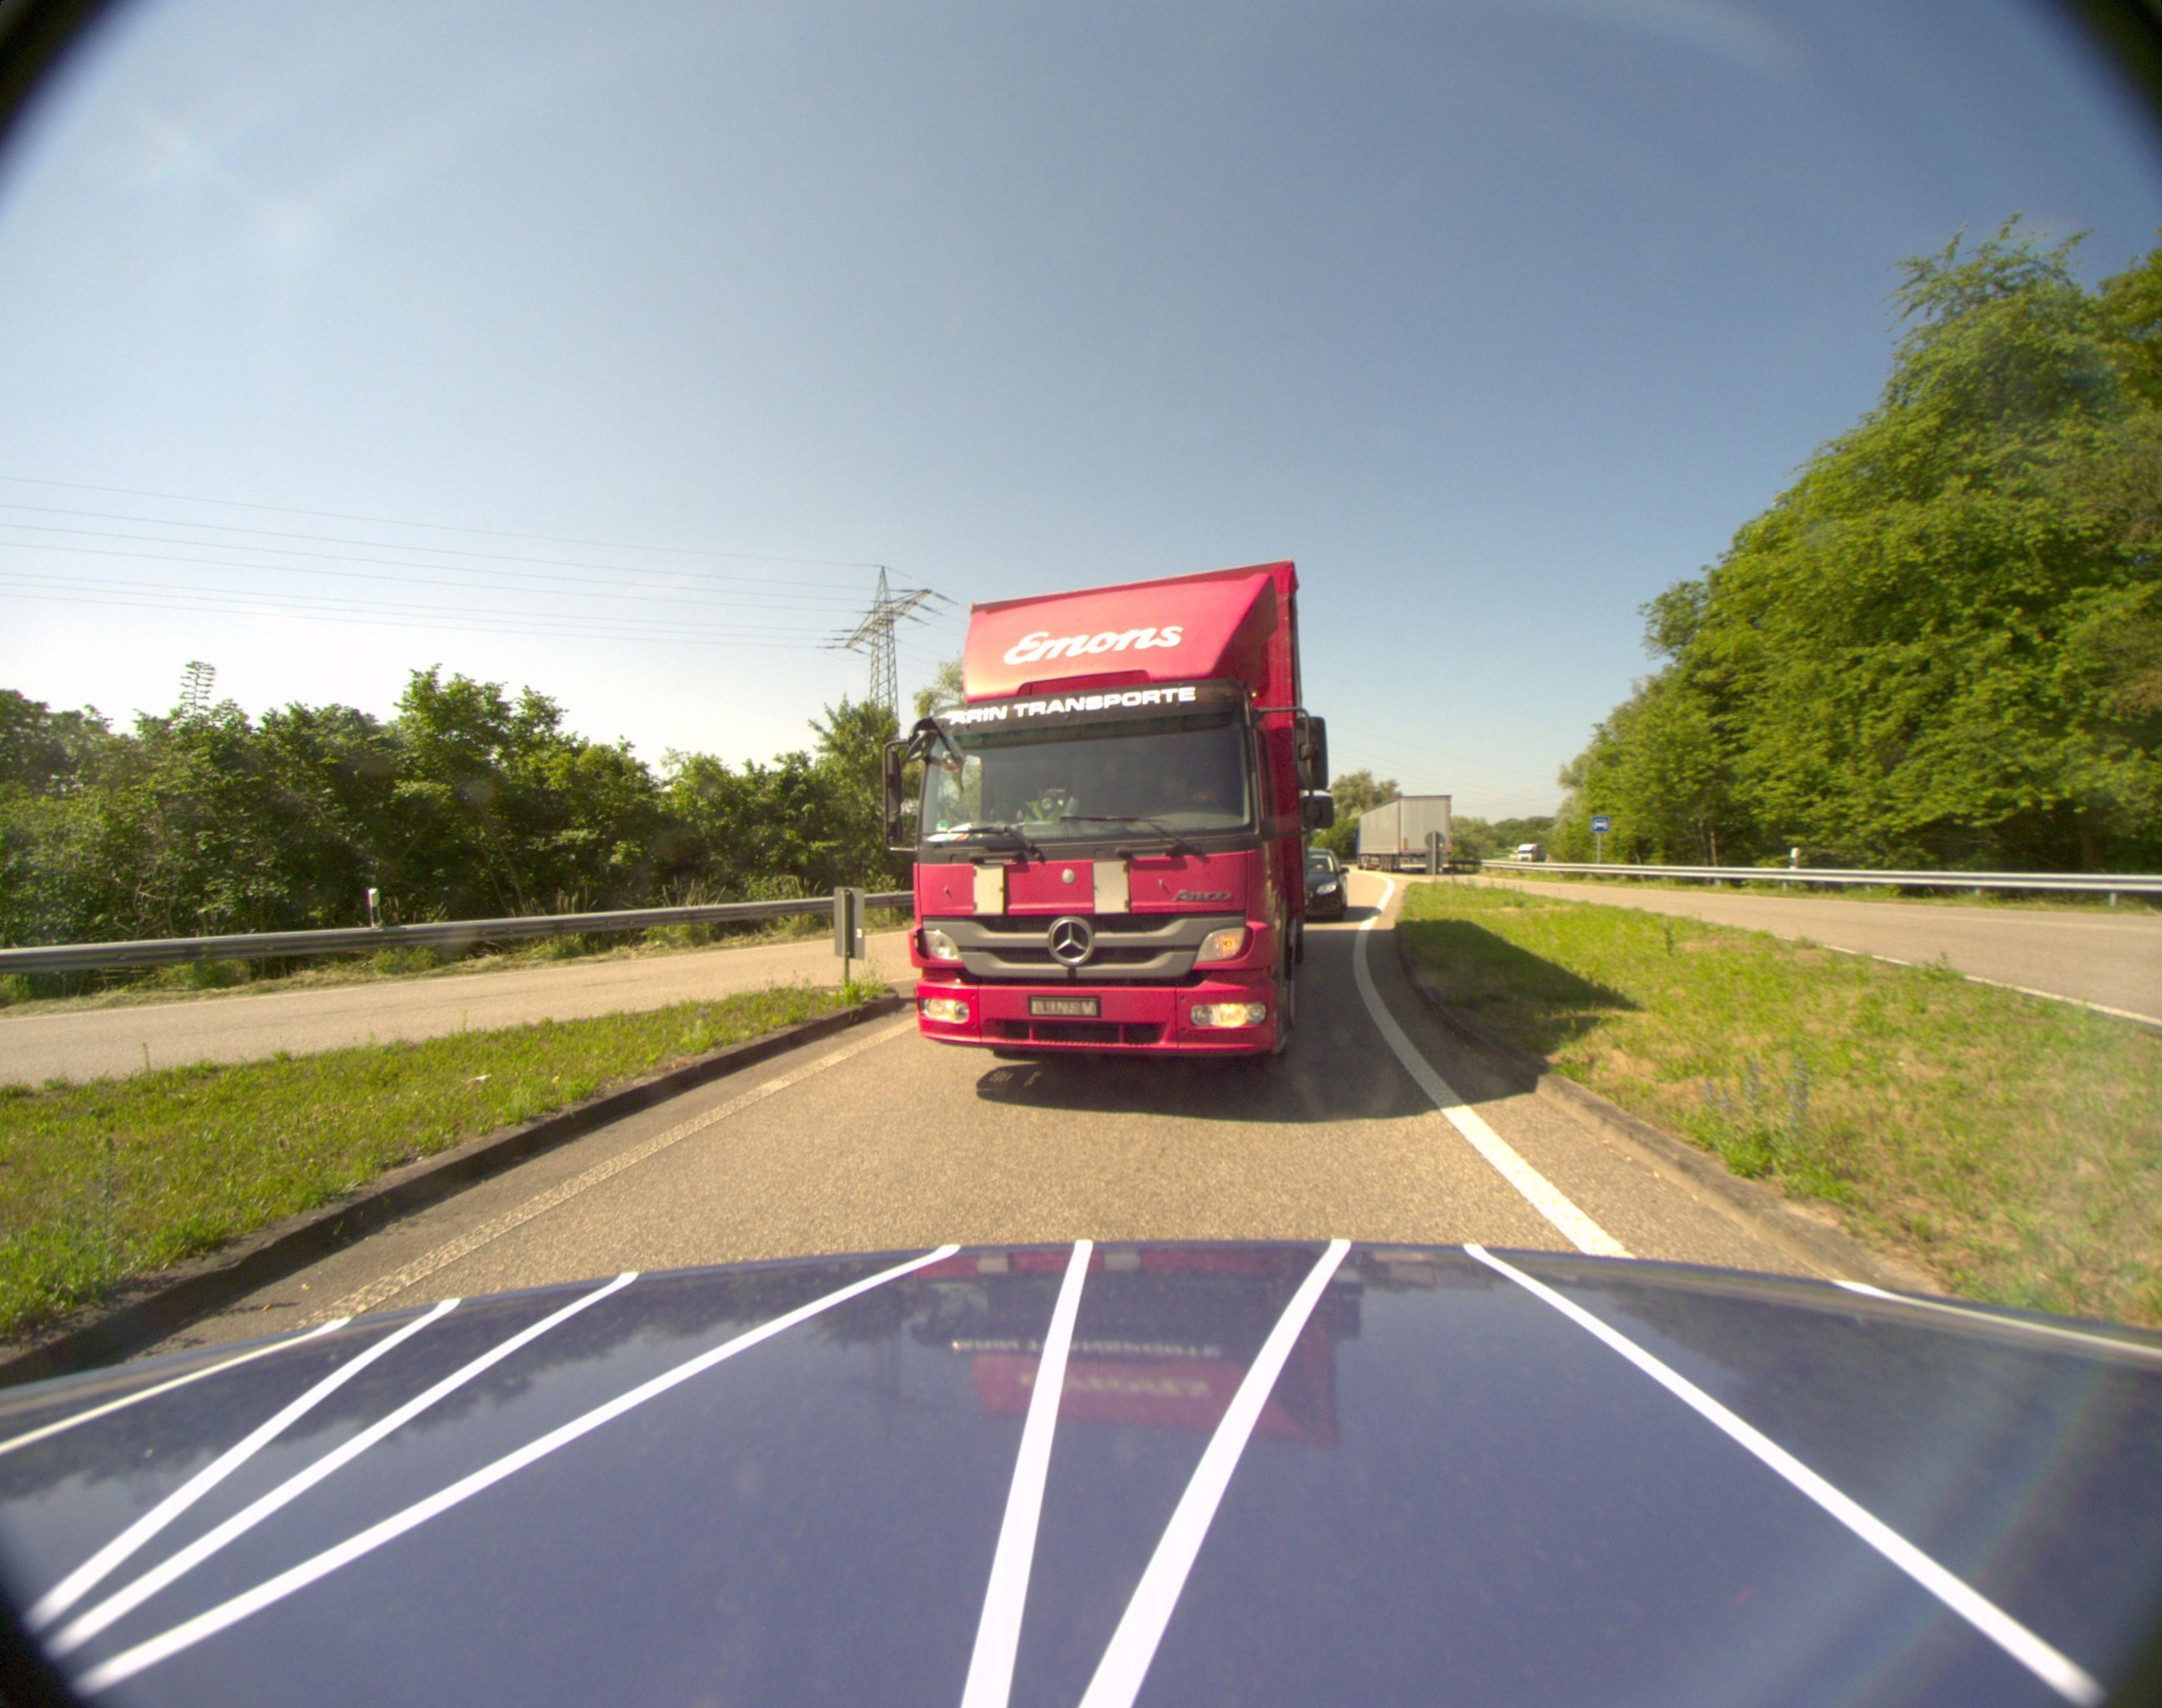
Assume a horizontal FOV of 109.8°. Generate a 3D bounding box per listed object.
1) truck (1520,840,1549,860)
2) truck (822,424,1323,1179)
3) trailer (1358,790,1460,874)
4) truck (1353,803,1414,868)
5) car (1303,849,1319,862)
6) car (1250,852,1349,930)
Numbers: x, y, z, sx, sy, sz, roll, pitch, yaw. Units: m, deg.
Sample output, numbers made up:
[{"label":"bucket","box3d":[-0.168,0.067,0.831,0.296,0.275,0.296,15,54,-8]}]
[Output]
[{"label":"truck","box3d":[94.123,-0.858,157.632,5.743,4.214,2.932,0,1,-35]},{"label":"truck","box3d":[1.173,-0.270,8.491,2.686,3.640,9.273,-1,0,17]},{"label":"trailer","box3d":[19.035,-1.132,45.166,2.954,4.243,13.994,1,0,13]},{"label":"truck","box3d":[20.646,-1.258,52.187,2.935,4.222,5.737,1,1,12]},{"label":"car","box3d":[26.672,0.113,88.068,1.785,1.377,4.383,-2,0,17]},{"label":"car","box3d":[4.829,0.712,16.425,1.785,1.406,4.005,-1,0,20]}]
